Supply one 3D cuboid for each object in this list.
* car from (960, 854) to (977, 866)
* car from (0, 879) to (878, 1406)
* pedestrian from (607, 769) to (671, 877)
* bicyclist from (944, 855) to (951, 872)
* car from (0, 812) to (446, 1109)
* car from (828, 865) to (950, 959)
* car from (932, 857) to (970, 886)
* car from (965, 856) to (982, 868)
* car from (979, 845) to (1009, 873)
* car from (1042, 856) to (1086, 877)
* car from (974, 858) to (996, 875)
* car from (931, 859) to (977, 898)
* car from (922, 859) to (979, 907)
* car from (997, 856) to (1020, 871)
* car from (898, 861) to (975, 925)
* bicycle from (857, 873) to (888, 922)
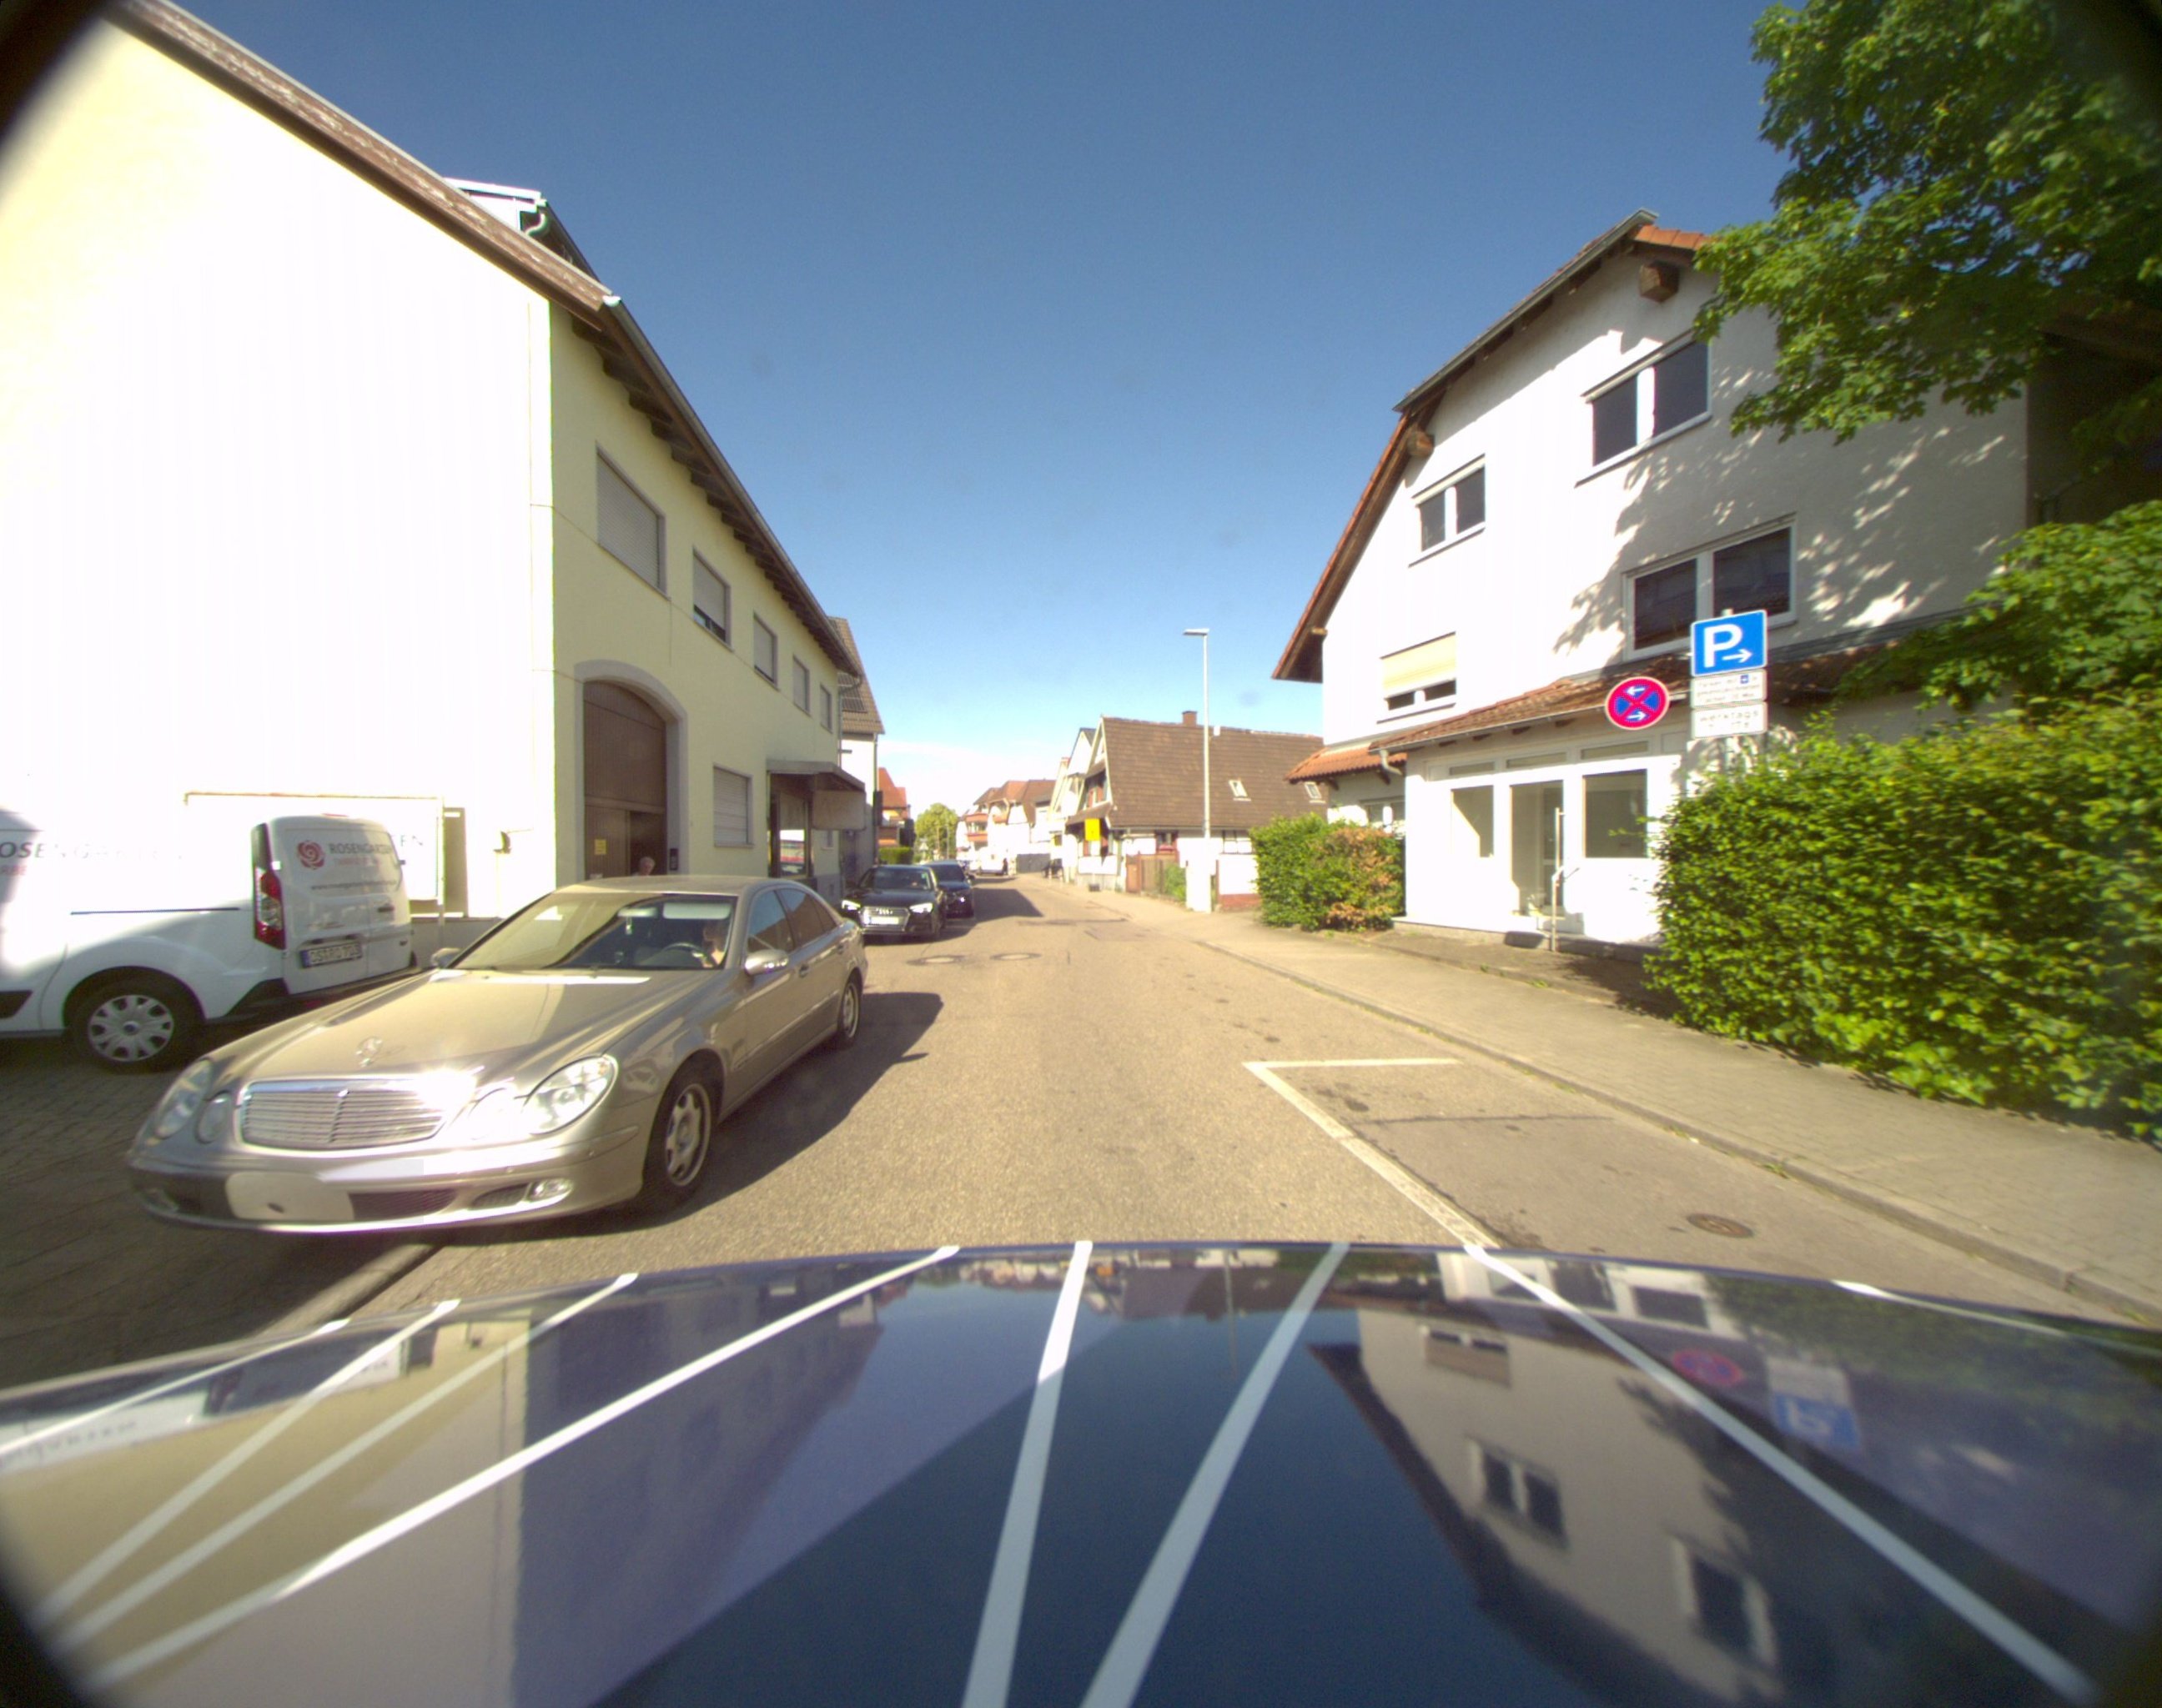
[{"bbox_3d":[-15.400,0.817,103.773,1.766,1.547,3.994,0,0,-17],"label":"car"},{"bbox_3d":[-2.695,0.973,4.713,1.816,1.466,4.658,0,0,-3],"label":"car"},{"bbox_3d":[-6.598,-0.453,11.369,0.566,1.543,0.769,-2,1,-11],"label":"pedestrian"},{"bbox_3d":[-12.707,0.916,72.076,0.644,1.655,0.604,0,1,-10],"label":"bicyclist"},{"bbox_3d":[-7.961,0.646,5.491,4.780,1.875,1.906,2,0,-14],"label":"car"},{"bbox_3d":[-3.746,1.039,15.642,1.814,1.467,4.840,-2,0,-7],"label":"car"},{"bbox_3d":[-7.388,0.968,43.402,1.851,1.505,4.503,-1,0,-6],"label":"car"},{"bbox_3d":[-13.503,1.036,94.948,1.624,1.431,3.950,0,0,-15],"label":"car"},{"bbox_3d":[-7.885,0.452,68.668,2.260,2.456,5.510,0,0,-11],"label":"car"},{"bbox_3d":[-1.308,0.862,56.137,1.696,1.437,4.167,-2,1,-25],"label":"car"},{"bbox_3d":[-9.874,1.280,78.128,1.729,1.609,4.106,0,0,-15],"label":"car"},{"bbox_3d":[-5.324,0.986,32.305,1.731,1.467,3.872,-2,0,-7],"label":"car"},{"bbox_3d":[-4.630,0.979,27.545,1.814,1.467,4.441,-2,0,-7],"label":"car"},{"bbox_3d":[-7.920,1.012,82.463,1.649,1.577,4.105,-1,0,-18],"label":"car"},{"bbox_3d":[-3.974,1.003,21.581,1.814,1.467,4.840,-2,0,-7],"label":"car"},{"bbox_3d":[-5.243,1.067,19.195,0.509,1.151,1.506,1,0,-6],"label":"bicycle"}]
